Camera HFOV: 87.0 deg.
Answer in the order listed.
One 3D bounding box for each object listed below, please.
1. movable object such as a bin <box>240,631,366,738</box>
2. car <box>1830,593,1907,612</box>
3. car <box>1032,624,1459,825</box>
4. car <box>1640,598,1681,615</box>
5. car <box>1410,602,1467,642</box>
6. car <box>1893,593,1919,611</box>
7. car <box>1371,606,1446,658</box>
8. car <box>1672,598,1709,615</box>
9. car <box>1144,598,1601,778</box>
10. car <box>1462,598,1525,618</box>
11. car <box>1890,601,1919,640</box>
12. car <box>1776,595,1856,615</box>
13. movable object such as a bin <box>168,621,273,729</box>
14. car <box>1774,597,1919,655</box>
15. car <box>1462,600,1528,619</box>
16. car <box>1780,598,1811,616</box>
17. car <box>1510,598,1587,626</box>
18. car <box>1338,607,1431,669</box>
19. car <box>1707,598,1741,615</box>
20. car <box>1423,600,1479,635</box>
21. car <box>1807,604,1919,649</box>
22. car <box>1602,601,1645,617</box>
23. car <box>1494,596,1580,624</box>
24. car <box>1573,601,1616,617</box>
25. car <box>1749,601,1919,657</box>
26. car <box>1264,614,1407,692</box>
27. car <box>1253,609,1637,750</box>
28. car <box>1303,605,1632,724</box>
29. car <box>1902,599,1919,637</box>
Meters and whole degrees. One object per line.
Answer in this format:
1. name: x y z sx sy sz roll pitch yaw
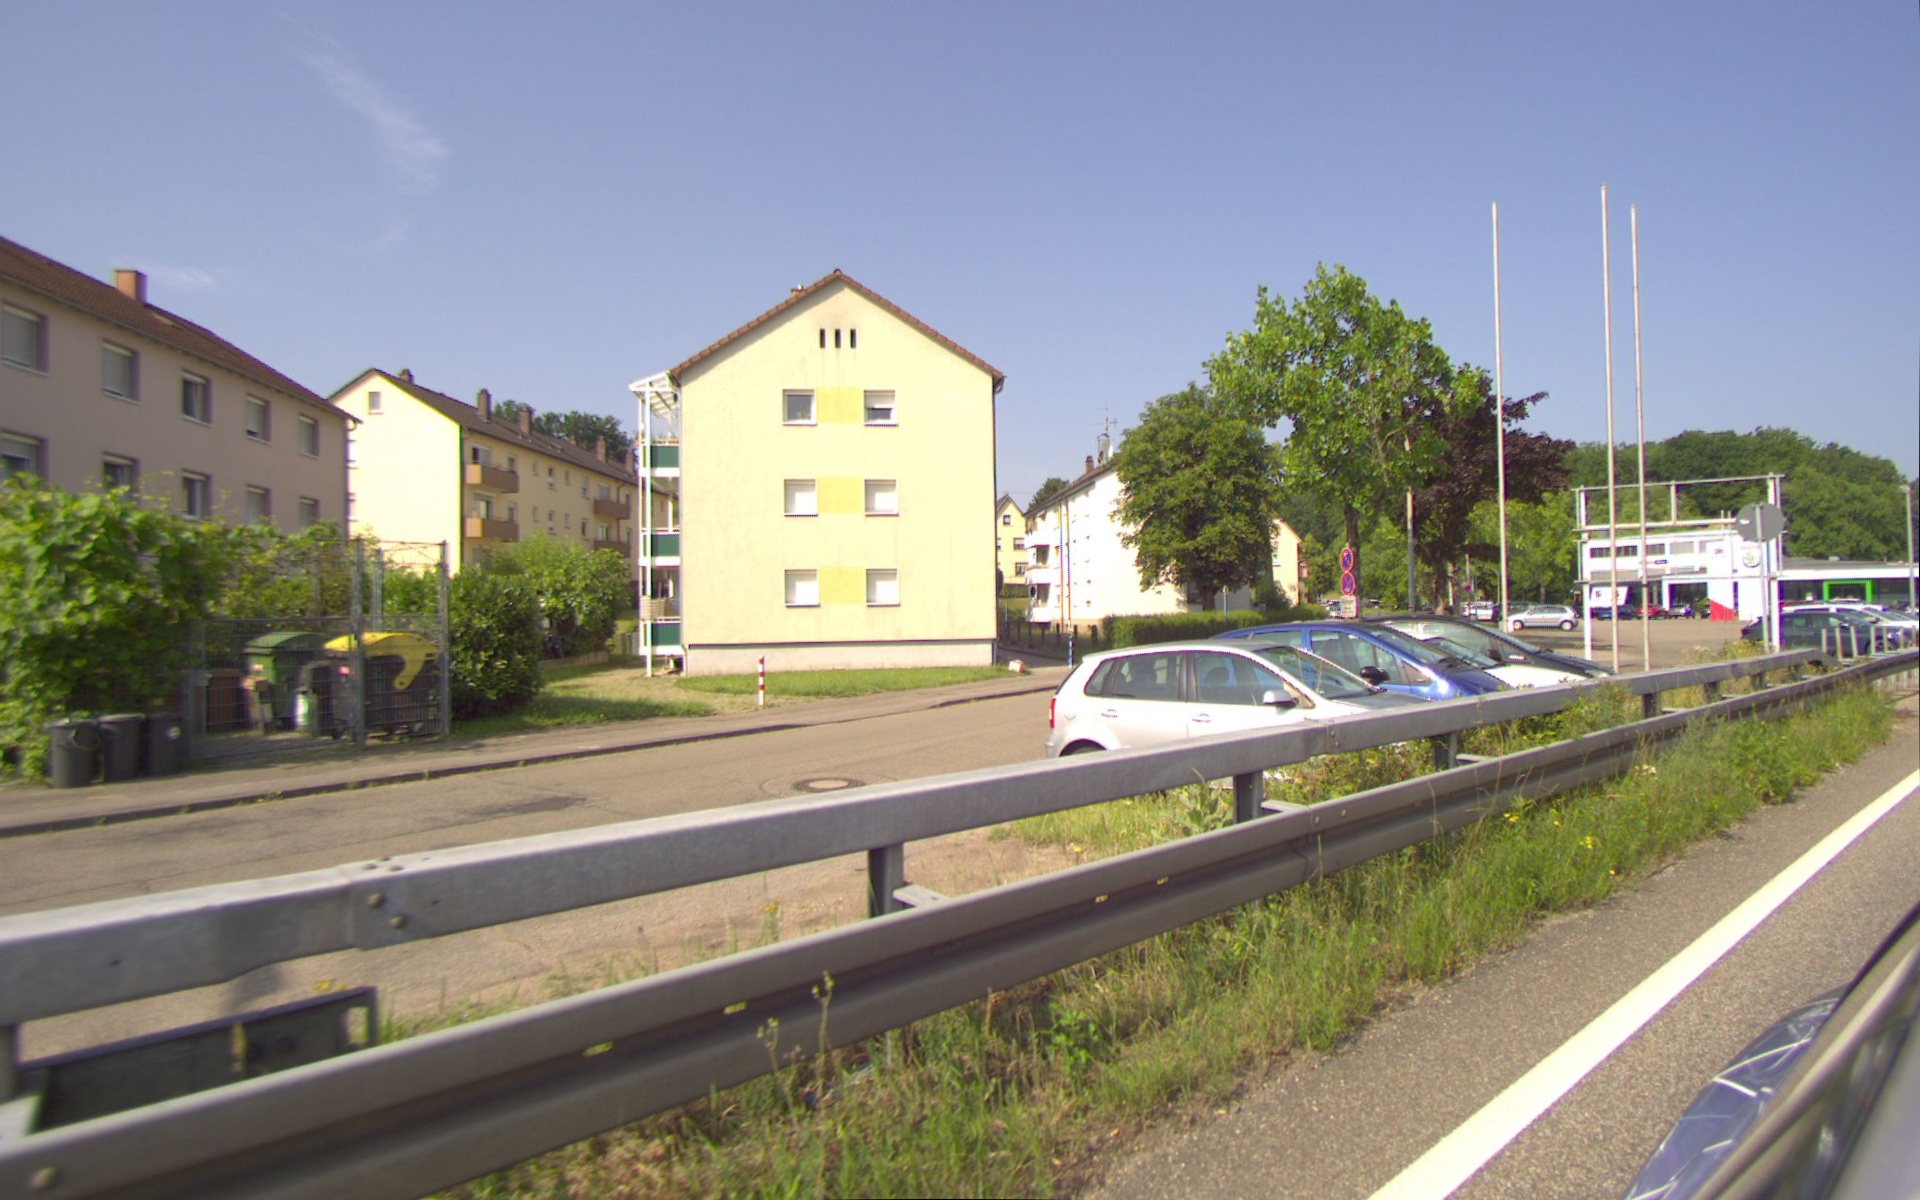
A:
1. movable object such as a bin: -9.463 1.174 14.598 1.263 1.422 1.086 0 0 30
2. car: 80.869 0.229 90.120 1.893 1.584 4.758 -1 1 -28
3. car: 2.431 0.990 8.964 3.257 1.394 1.527 -4 -1 40
4. car: 72.673 0.649 104.970 4.523 1.565 2.004 -1 1 -35
5. car: 18.176 0.807 38.356 1.643 1.384 3.623 0 0 31
6. car: 87.128 0.168 92.218 1.913 1.584 4.708 0 1 27
7. car: 13.893 0.937 31.261 1.695 1.423 3.623 0 0 31
8. car: 74.228 0.651 102.814 4.529 1.565 2.001 -1 1 -40
9. car: 4.401 0.931 11.141 4.224 1.593 1.891 -5 -3 39
10. car: 45.351 0.692 86.145 4.705 1.608 1.914 0 1 27
11. car: 40.197 0.843 40.577 1.665 1.541 4.001 -1 0 -34
12. car: 71.011 0.397 84.034 1.893 1.584 4.758 -1 1 -28
13. movable object such as a bin: -11.190 1.105 15.333 1.034 1.533 0.955 -1 -1 30
14. car: 28.077 0.736 31.059 2.096 1.660 4.340 -1 0 -26
15. car: 44.161 0.772 83.624 4.705 1.477 1.914 0 1 27
16. car: 80.084 0.646 97.019 1.991 1.565 4.551 1 1 36
17. car: 33.515 0.650 57.717 3.733 1.541 1.640 0 0 30
18. car: 11.333 0.941 26.859 1.695 1.423 4.436 0 0 31
19. car: 75.998 0.655 100.614 4.534 1.565 1.999 -1 1 -44
20. car: 22.220 0.758 45.721 1.899 1.423 4.476 0 0 31
21. car: 31.977 0.894 34.643 1.598 1.462 4.332 -1 0 -36
22. car: 67.714 0.885 103.337 4.373 1.565 1.842 -1 1 -29
23. car: 34.983 0.602 61.410 4.463 1.620 1.820 0 0 33
24. car: 66.271 0.895 105.726 4.372 1.565 1.843 -1 1 -27
25. car: 25.683 0.830 29.215 1.845 1.502 4.164 -1 -1 -32
26. car: 8.122 1.049 21.648 1.778 1.438 4.381 0 -1 36
27. car: 5.971 0.983 12.740 3.982 1.468 1.738 -5 -3 42
28. car: 7.251 0.821 14.620 4.045 1.470 1.706 0 0 36
29. car: 42.466 0.771 42.569 1.772 1.588 3.860 -1 0 -34
